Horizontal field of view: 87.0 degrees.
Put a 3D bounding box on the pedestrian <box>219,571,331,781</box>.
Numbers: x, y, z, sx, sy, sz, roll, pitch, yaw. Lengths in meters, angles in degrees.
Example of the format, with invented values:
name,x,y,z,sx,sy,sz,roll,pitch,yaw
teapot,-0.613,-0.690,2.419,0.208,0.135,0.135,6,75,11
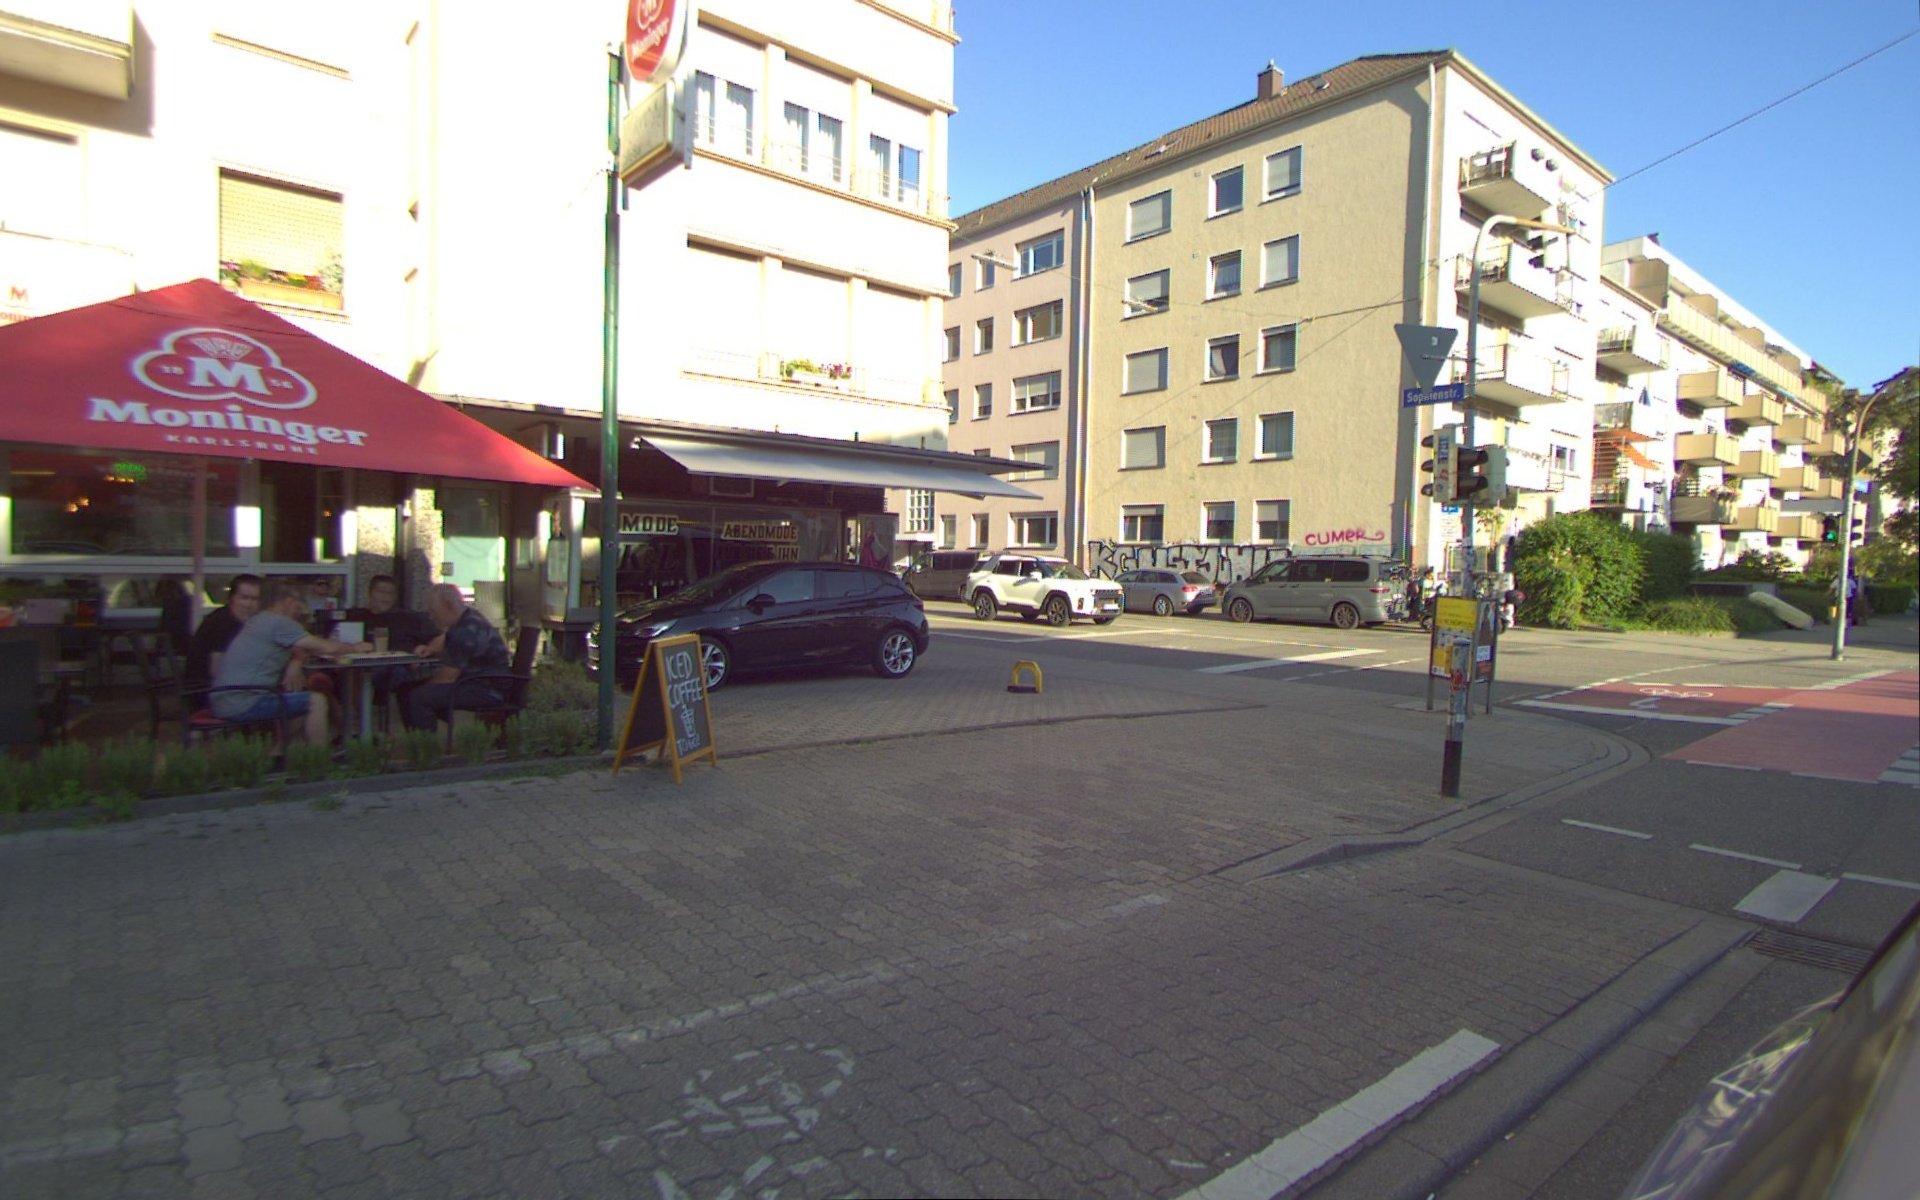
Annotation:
name,x,y,z,sx,sy,sz,roll,pitch,yaw
pedestrian,-4.052,0.415,5.989,0.516,1.164,0.495,-1,2,-36

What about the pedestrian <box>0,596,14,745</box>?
name,x,y,z,sx,sy,sz,roll,pitch,yaw
pedestrian,-7.208,0.511,7.343,0.405,1.062,0.526,-1,2,-34

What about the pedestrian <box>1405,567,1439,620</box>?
name,x,y,z,sx,sy,sz,roll,pitch,yaw
pedestrian,12.584,-0.187,27.560,0.584,1.408,0.641,-1,2,-41

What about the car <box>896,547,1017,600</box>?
name,x,y,z,sx,sy,sz,roll,pitch,yaw
car,-0.226,-1.100,39.751,1.919,1.930,5.071,-1,3,-40

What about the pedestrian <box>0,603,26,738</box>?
name,x,y,z,sx,sy,sz,roll,pitch,yaw
pedestrian,-7.545,0.540,7.809,0.405,1.003,0.526,-1,2,-34

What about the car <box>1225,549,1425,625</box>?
name,x,y,z,sx,sy,sz,roll,pitch,yaw
car,9.879,-0.447,27.711,1.920,1.888,4.837,-3,4,-42

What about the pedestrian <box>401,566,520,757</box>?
name,x,y,z,sx,sy,sz,roll,pitch,yaw
pedestrian,-3.215,0.366,6.516,0.620,1.164,0.413,-1,2,-36

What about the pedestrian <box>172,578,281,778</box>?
name,x,y,z,sx,sy,sz,roll,pitch,yaw
pedestrian,-4.522,0.449,6.254,0.516,1.164,0.487,-1,2,-36

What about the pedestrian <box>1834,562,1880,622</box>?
name,x,y,z,sx,sy,sz,roll,pitch,yaw
pedestrian,26.576,-0.250,29.991,0.648,1.703,0.831,0,3,-36

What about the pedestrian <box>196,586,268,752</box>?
name,x,y,z,sx,sy,sz,roll,pitch,yaw
pedestrian,-5.419,0.489,7.550,0.405,1.164,0.526,-1,2,-34

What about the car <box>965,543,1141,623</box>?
name,x,y,z,sx,sy,sz,roll,pitch,yaw
car,2.267,-0.495,25.587,1.918,1.860,4.351,-1,3,-40

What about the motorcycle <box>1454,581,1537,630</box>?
name,x,y,z,sx,sy,sz,roll,pitch,yaw
motorcycle,13.099,0.109,24.797,0.584,1.125,1.698,-1,2,-39

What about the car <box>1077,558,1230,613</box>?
name,x,y,z,sx,sy,sz,roll,pitch,yaw
car,6.112,-0.518,32.411,1.920,1.560,4.615,-3,4,-42

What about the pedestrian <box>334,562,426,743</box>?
name,x,y,z,sx,sy,sz,roll,pitch,yaw
pedestrian,-4.375,0.364,7.634,0.530,1.298,0.525,-1,2,-38

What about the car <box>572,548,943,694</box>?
name,x,y,z,sx,sy,sz,roll,pitch,yaw
car,-2.387,0.146,12.476,4.130,1.502,1.832,-1,3,-40

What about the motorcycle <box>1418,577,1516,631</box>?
name,x,y,z,sx,sy,sz,roll,pitch,yaw
motorcycle,12.153,0.075,24.300,1.981,1.215,0.764,2,2,38

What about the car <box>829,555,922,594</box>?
name,x,y,z,sx,sy,sz,roll,pitch,yaw
car,-3.727,-1.153,44.002,1.919,1.560,4.287,-3,4,-41

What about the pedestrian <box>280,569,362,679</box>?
name,x,y,z,sx,sy,sz,roll,pitch,yaw
pedestrian,-7.060,0.243,11.177,0.707,1.164,0.610,-1,2,-38
